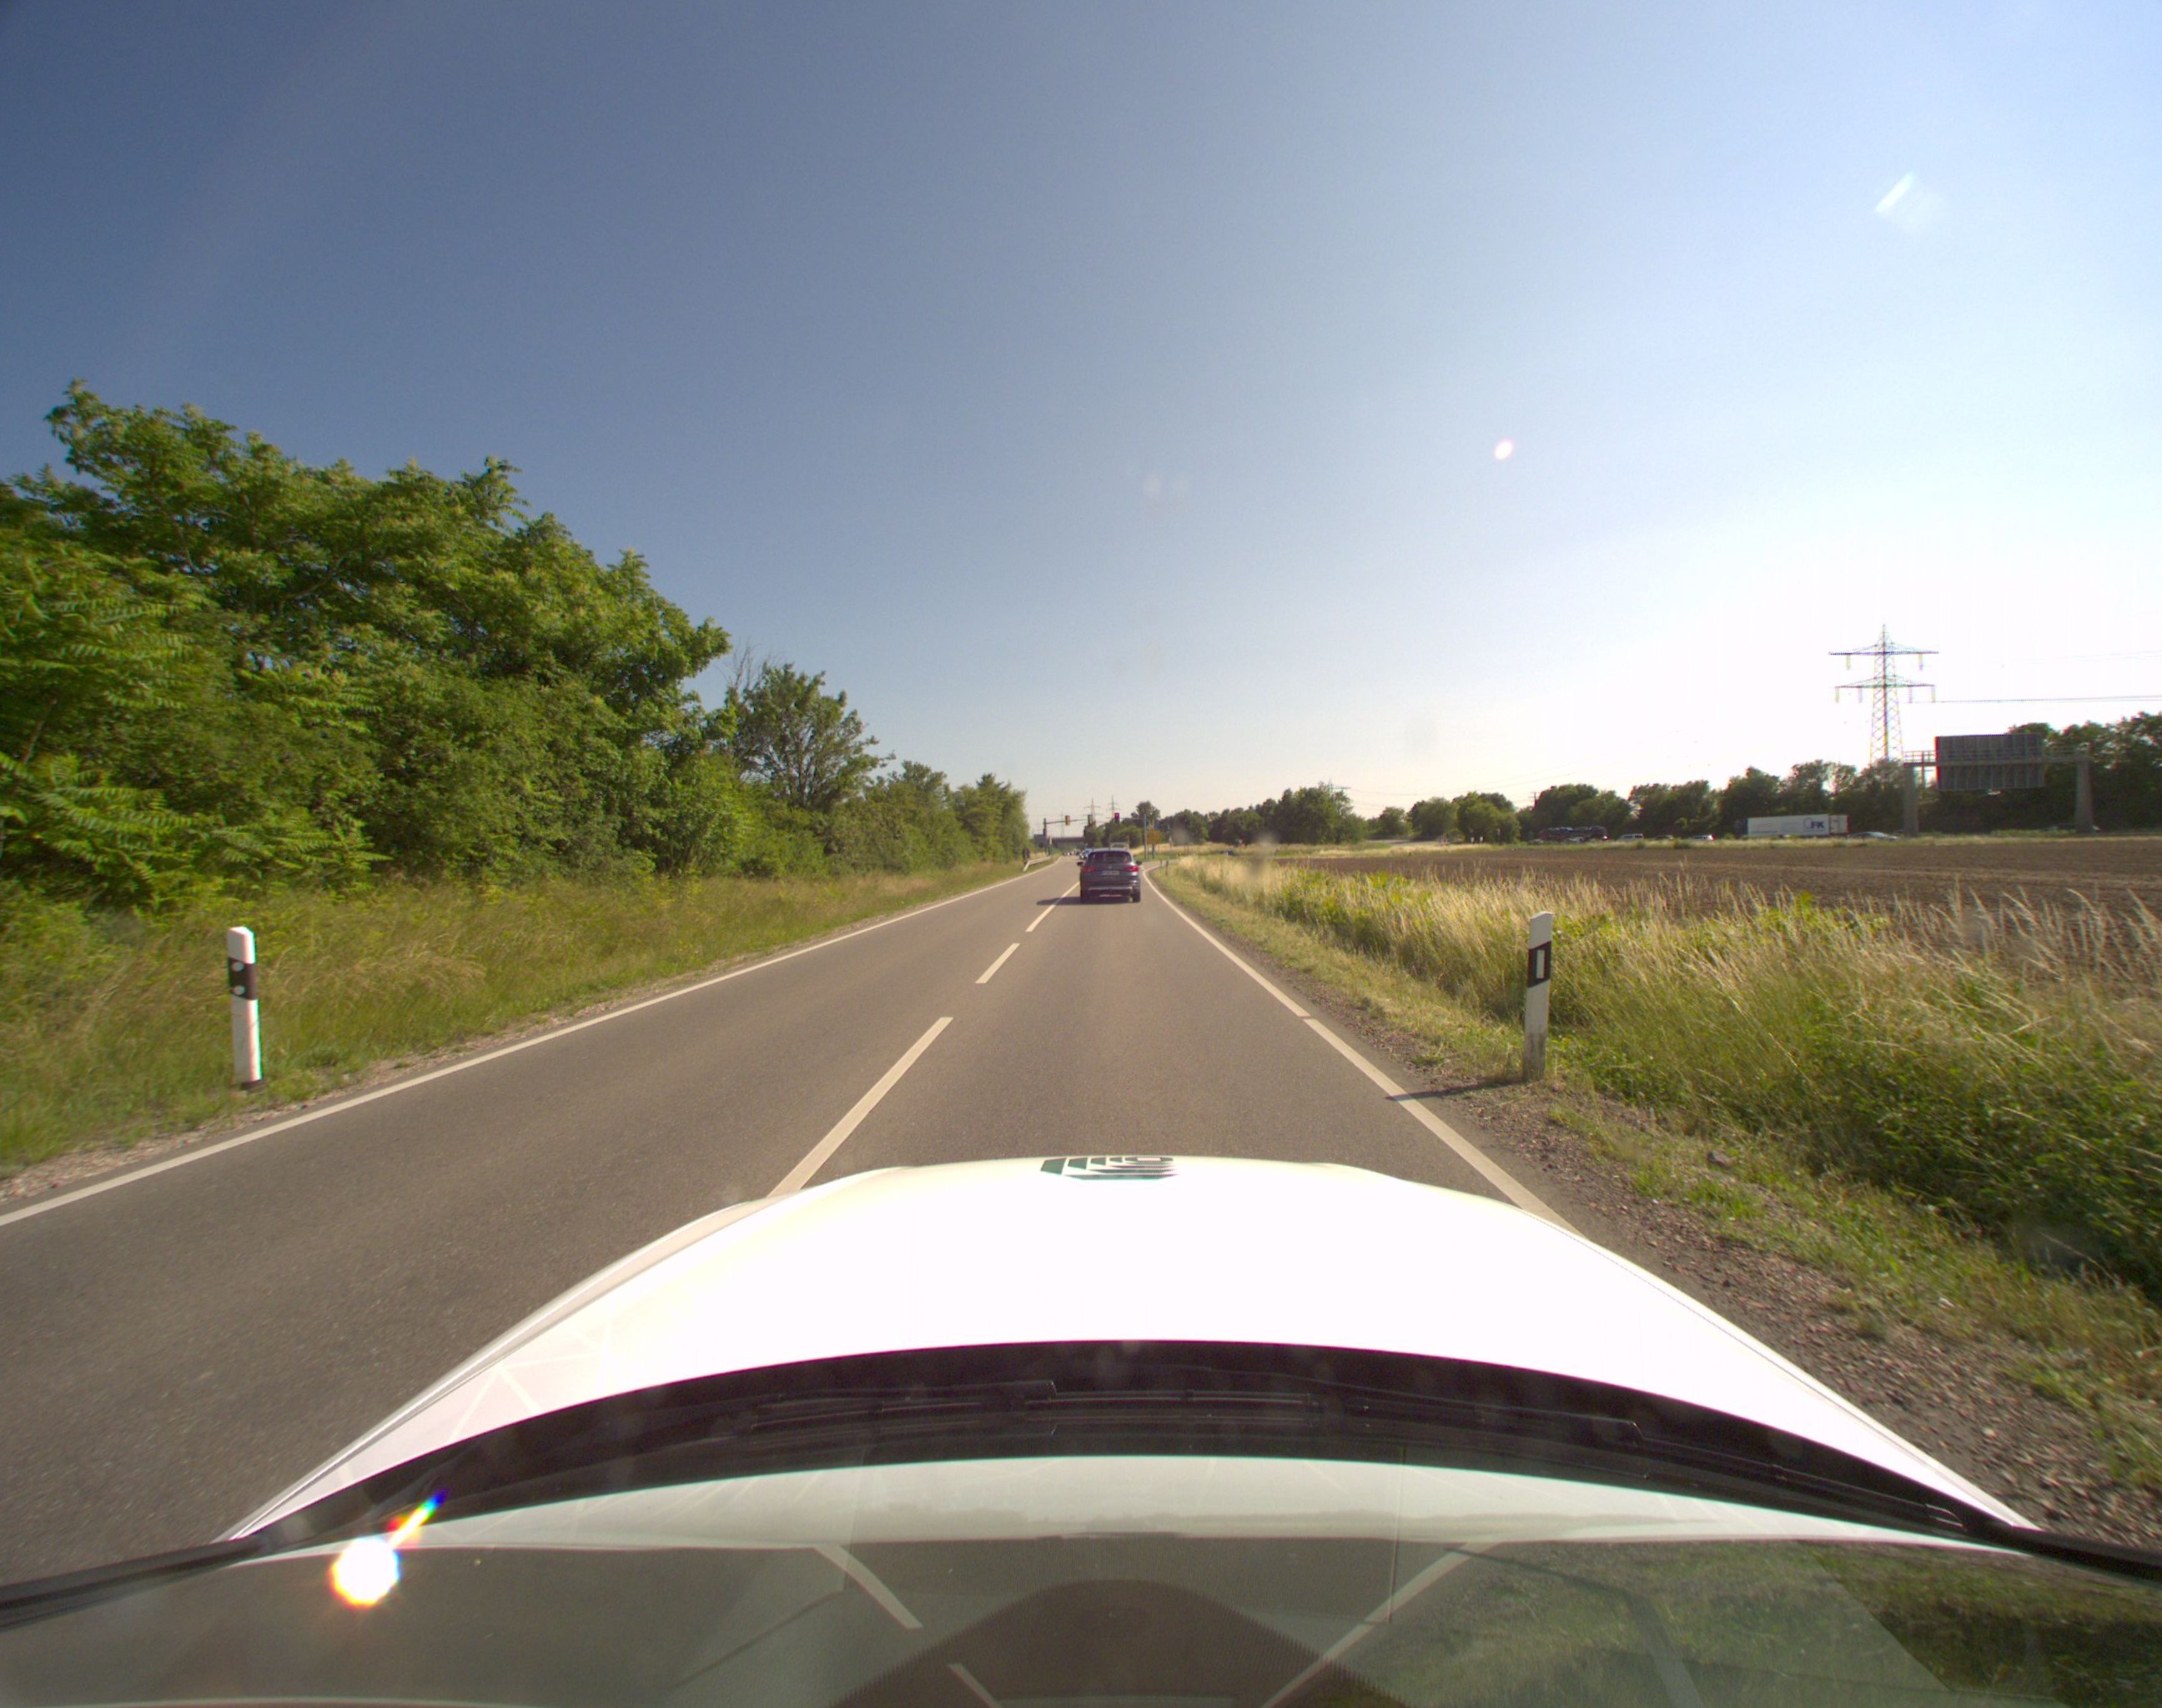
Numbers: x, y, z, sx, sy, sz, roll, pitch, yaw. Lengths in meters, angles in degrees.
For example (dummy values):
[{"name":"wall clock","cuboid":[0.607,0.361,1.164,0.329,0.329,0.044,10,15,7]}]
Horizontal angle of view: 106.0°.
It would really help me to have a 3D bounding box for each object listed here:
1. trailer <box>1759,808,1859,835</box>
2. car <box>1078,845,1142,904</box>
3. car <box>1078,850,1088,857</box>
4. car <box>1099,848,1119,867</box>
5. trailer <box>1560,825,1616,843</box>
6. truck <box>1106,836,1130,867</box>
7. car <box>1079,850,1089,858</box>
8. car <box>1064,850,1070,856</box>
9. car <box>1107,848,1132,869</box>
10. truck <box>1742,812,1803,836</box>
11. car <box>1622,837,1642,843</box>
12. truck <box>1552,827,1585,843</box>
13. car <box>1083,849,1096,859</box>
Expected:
[{"name":"trailer","cuboid":[104.089,-4.502,116.866,3.273,3.267,12.457,-2,0,1]},{"name":"car","cuboid":[0.877,0.561,25.048,1.779,1.629,4.002,-1,1,2]},{"name":"car","cuboid":[0.297,-0.096,148.377,1.679,1.380,3.531,-1,1,-2]},{"name":"car","cuboid":[2.579,0.336,75.732,1.779,1.675,4.001,-1,1,1]},{"name":"trailer","cuboid":[103.717,-4.022,166.901,3.273,3.267,13.455,-2,1,1]},{"name":"truck","cuboid":[3.832,-0.234,83.427,2.328,3.066,5.813,-1,0,3]},{"name":"car","cuboid":[0.528,0.011,140.967,1.679,1.380,3.531,-1,1,-2]},{"name":"car","cuboid":[-4.135,-0.309,243.319,1.820,1.431,3.997,-2,0,-2]},{"name":"car","cuboid":[2.989,0.336,63.899,1.779,1.543,4.001,-1,1,1]},{"name":"truck","cuboid":[104.149,-4.514,122.847,3.273,3.267,6.979,-2,0,1]},{"name":"car","cuboid":[96.747,-2.435,143.053,1.389,1.151,3.183,0,1,1]},{"name":"truck","cuboid":[103.808,-4.111,173.517,3.273,3.267,6.429,-2,1,0]},{"name":"car","cuboid":[1.375,0.012,128.143,1.811,1.540,3.997,-2,0,-2]}]
